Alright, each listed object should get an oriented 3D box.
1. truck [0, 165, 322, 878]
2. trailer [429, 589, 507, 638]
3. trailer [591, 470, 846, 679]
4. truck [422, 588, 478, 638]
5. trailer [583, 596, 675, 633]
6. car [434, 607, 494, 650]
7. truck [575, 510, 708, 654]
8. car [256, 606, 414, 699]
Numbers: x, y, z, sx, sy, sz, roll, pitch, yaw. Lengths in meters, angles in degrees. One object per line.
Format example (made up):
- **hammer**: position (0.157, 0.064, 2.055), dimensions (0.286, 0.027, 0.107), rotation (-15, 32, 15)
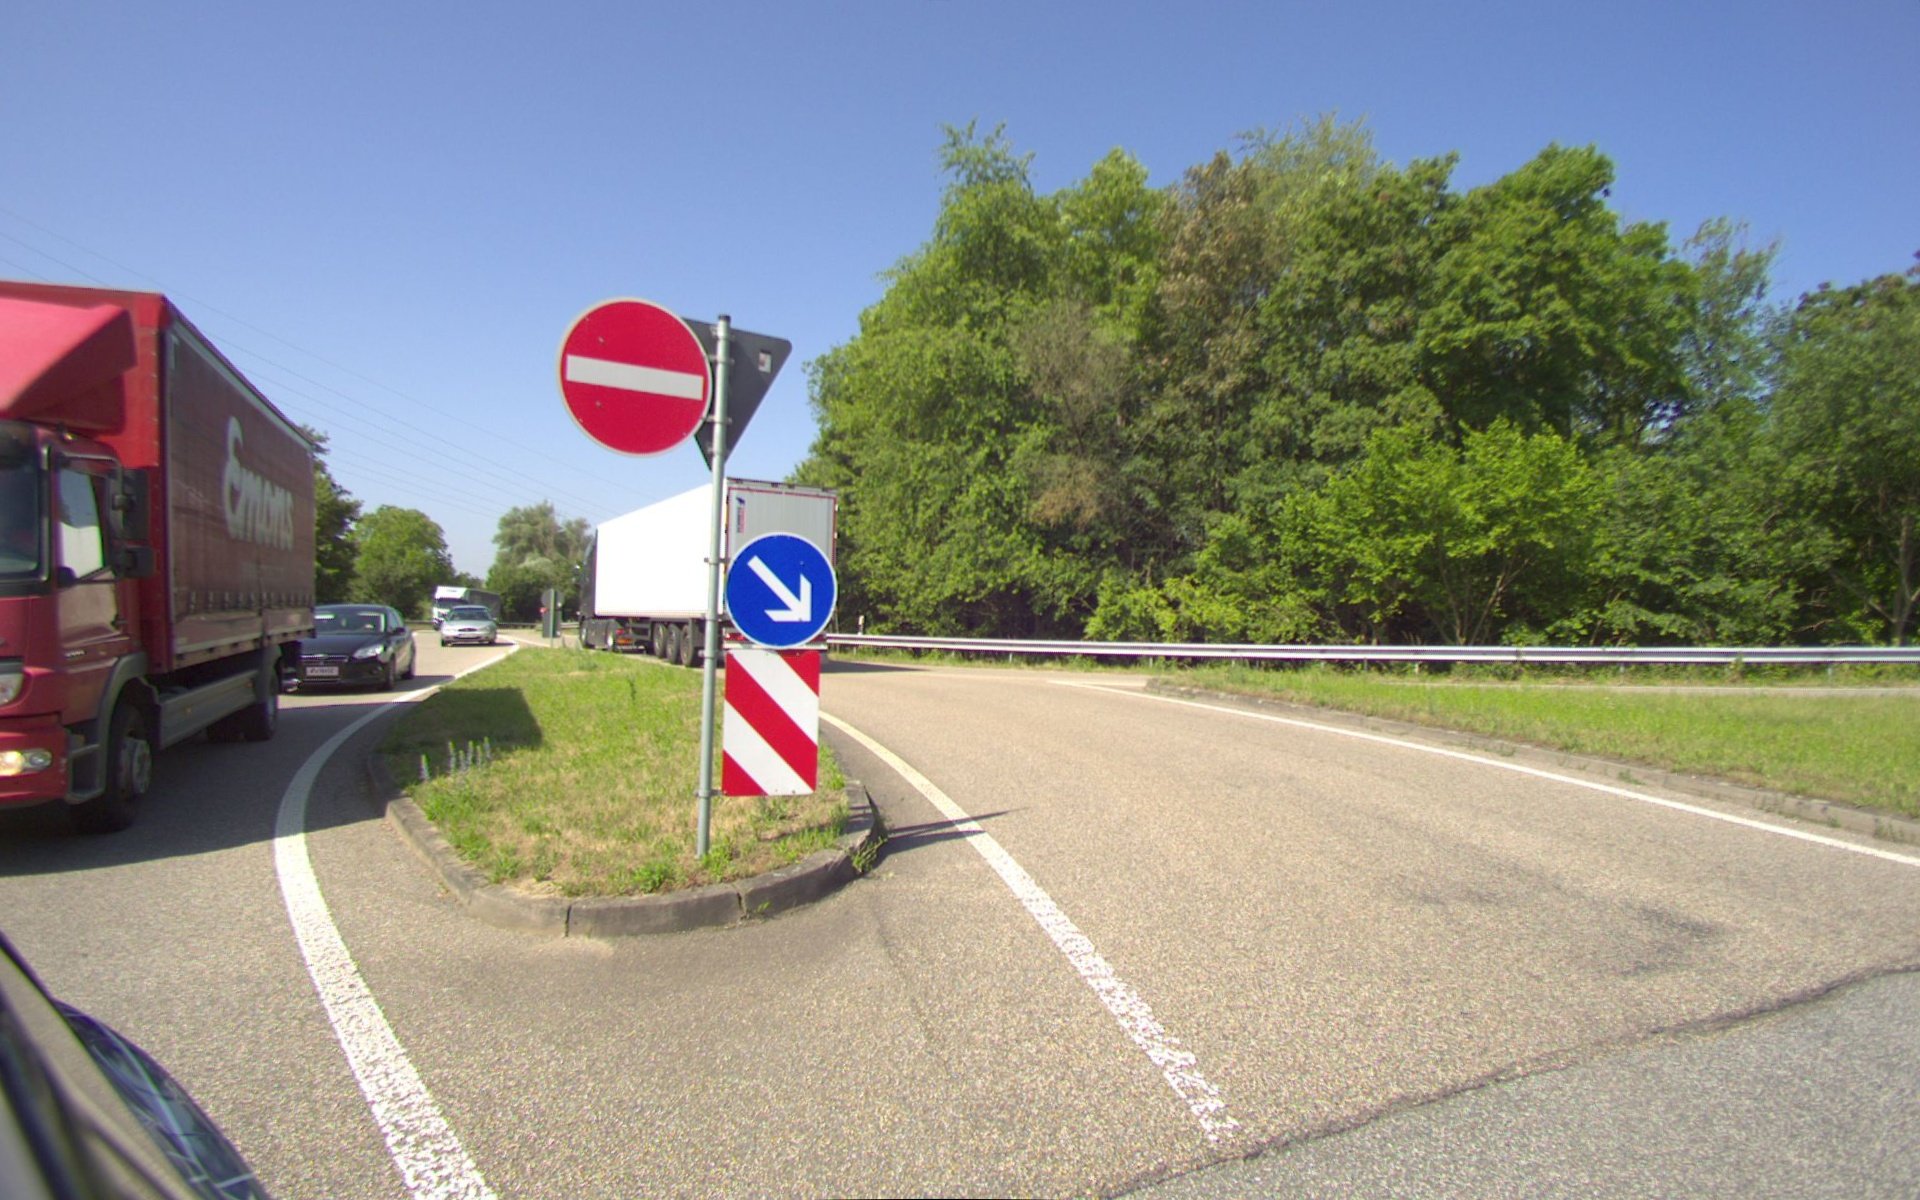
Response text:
- **truck**: position (-7.868, -0.388, 8.994), dimensions (2.644, 3.689, 9.293), rotation (0, 0, -26)
- **trailer**: position (-47.277, 1.324, 97.842), dimensions (2.883, 4.272, 14.010), rotation (2, -1, -10)
- **trailer**: position (-7.145, -0.525, 27.126), dimensions (2.847, 4.196, 14.024), rotation (0, 0, -30)
- **truck**: position (-46.105, 1.170, 91.695), dimensions (2.893, 4.270, 5.745), rotation (2, -1, -10)
- **trailer**: position (-41.108, 1.918, 126.571), dimensions (2.938, 4.300, 13.885), rotation (1, -2, 20)
- **car**: position (-17.599, 0.954, 35.825), dimensions (1.758, 1.395, 4.392), rotation (0, 0, -28)
- **truck**: position (-10.474, -0.522, 32.907), dimensions (2.830, 4.205, 5.989), rotation (-1, 0, -30)
- **car**: position (-10.786, 0.820, 17.733), dimensions (1.757, 1.425, 4.013), rotation (0, 0, -23)
